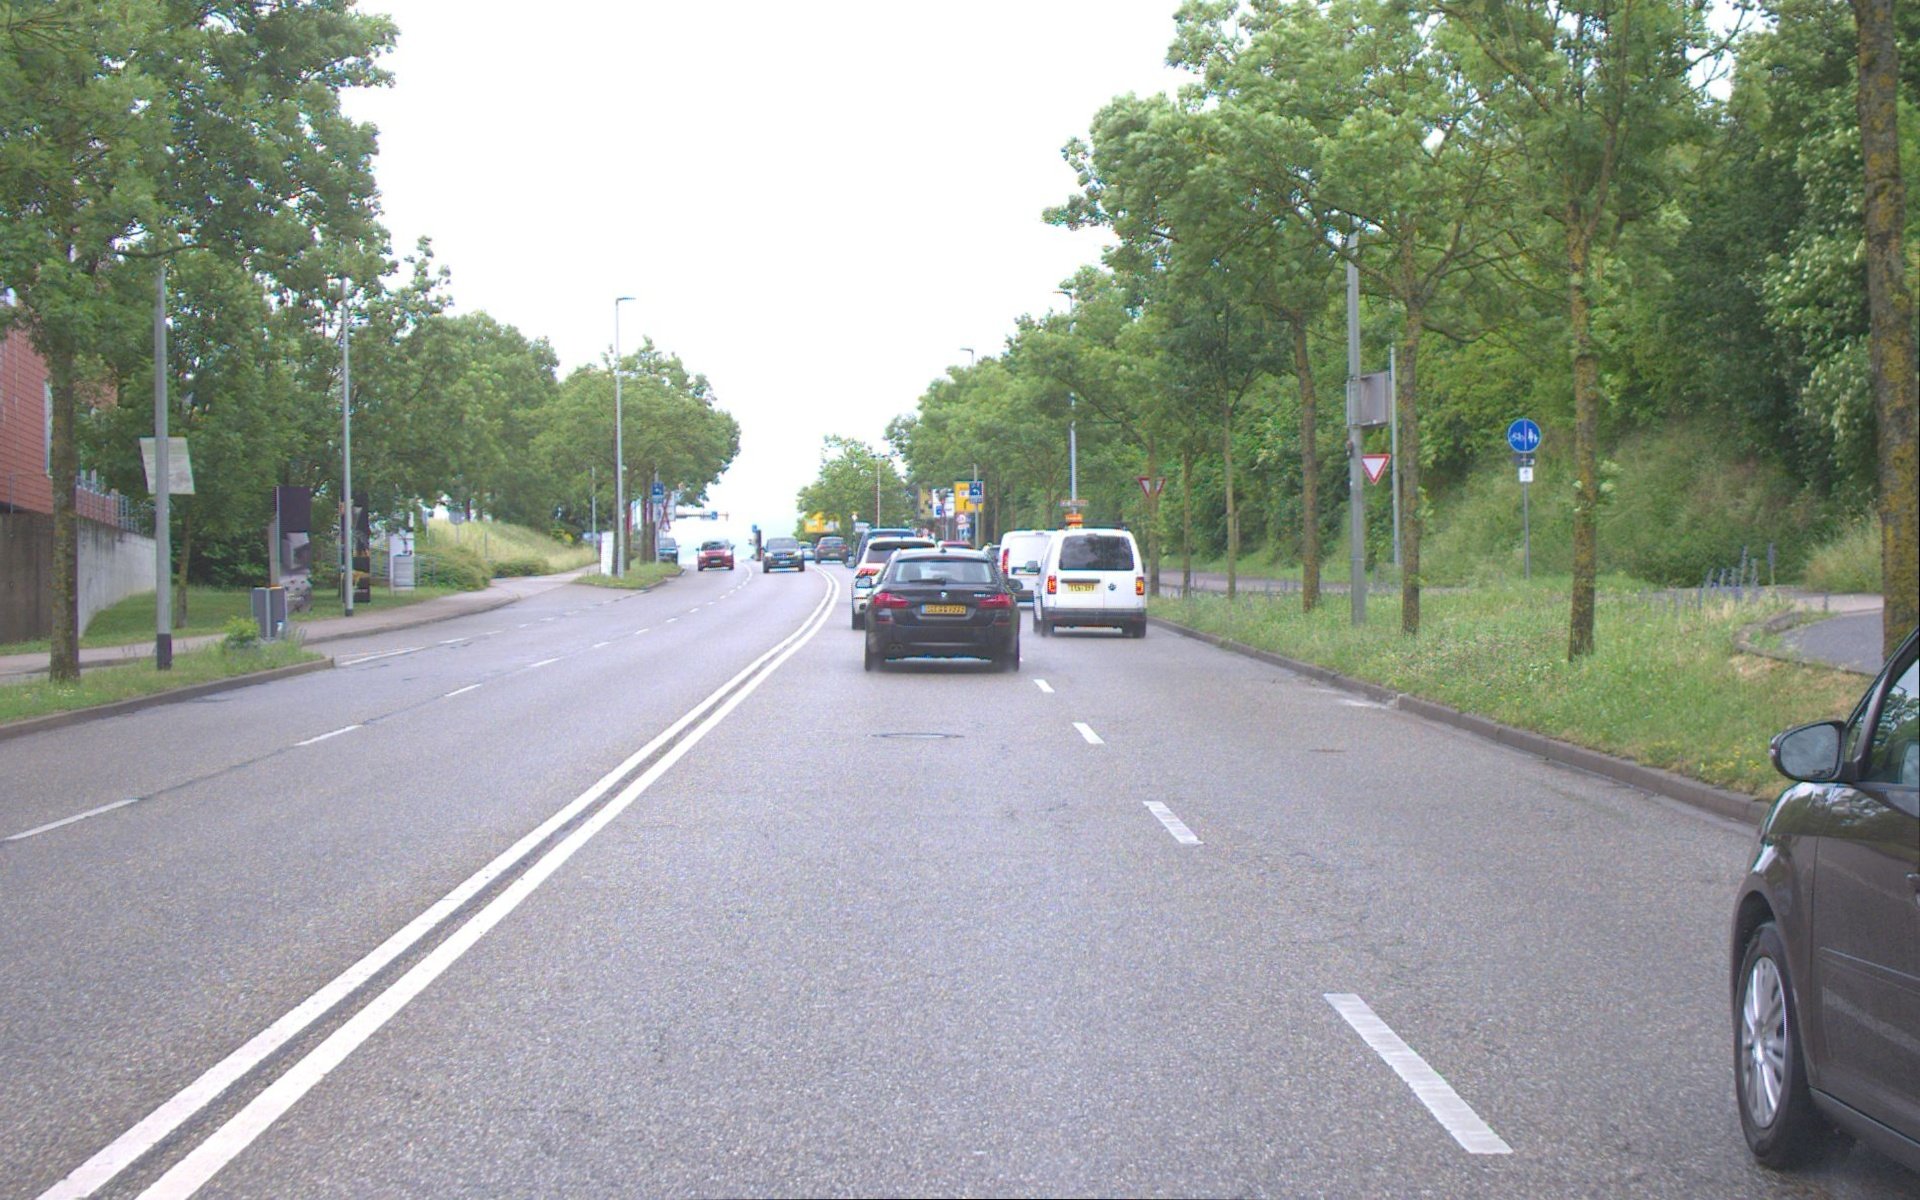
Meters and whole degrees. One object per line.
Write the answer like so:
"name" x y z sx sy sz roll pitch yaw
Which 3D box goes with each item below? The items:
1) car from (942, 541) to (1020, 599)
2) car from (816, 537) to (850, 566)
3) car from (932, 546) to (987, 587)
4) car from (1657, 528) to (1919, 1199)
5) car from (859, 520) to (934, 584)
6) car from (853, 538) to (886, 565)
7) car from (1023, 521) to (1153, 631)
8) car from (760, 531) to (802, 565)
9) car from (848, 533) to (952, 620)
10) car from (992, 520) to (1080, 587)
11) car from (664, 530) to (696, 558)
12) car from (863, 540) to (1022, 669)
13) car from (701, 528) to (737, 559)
"car" 0.553 -0.816 93.885 1.794 1.505 4.001 1 0 -4
"car" -6.955 -2.651 187.981 1.794 1.505 4.000 1 0 -3
"car" -0.026 -1.257 130.442 1.794 1.505 4.001 1 0 -4
"car" 2.780 0.650 6.986 1.685 1.576 4.219 0 1 -3
"car" -1.573 -1.168 84.855 1.794 1.505 4.000 1 0 -1
"car" -5.220 -2.803 198.156 1.794 1.505 4.000 1 0 -3
"car" 2.126 -0.433 58.092 1.827 1.753 4.001 1 1 -3
"car" -8.276 -2.396 158.782 1.794 1.505 4.001 1 0 -4
"car" -1.130 -0.429 63.140 1.794 1.505 4.000 1 0 -2
"car" 1.761 -1.071 80.541 1.794 1.505 4.000 1 0 -2
"car" -16.322 -3.262 200.502 1.794 1.505 4.001 1 0 -4
"car" -0.214 0.019 41.858 1.827 1.463 4.000 1 1 0
"car" -12.208 -2.856 174.010 1.794 1.505 4.001 1 0 -4
